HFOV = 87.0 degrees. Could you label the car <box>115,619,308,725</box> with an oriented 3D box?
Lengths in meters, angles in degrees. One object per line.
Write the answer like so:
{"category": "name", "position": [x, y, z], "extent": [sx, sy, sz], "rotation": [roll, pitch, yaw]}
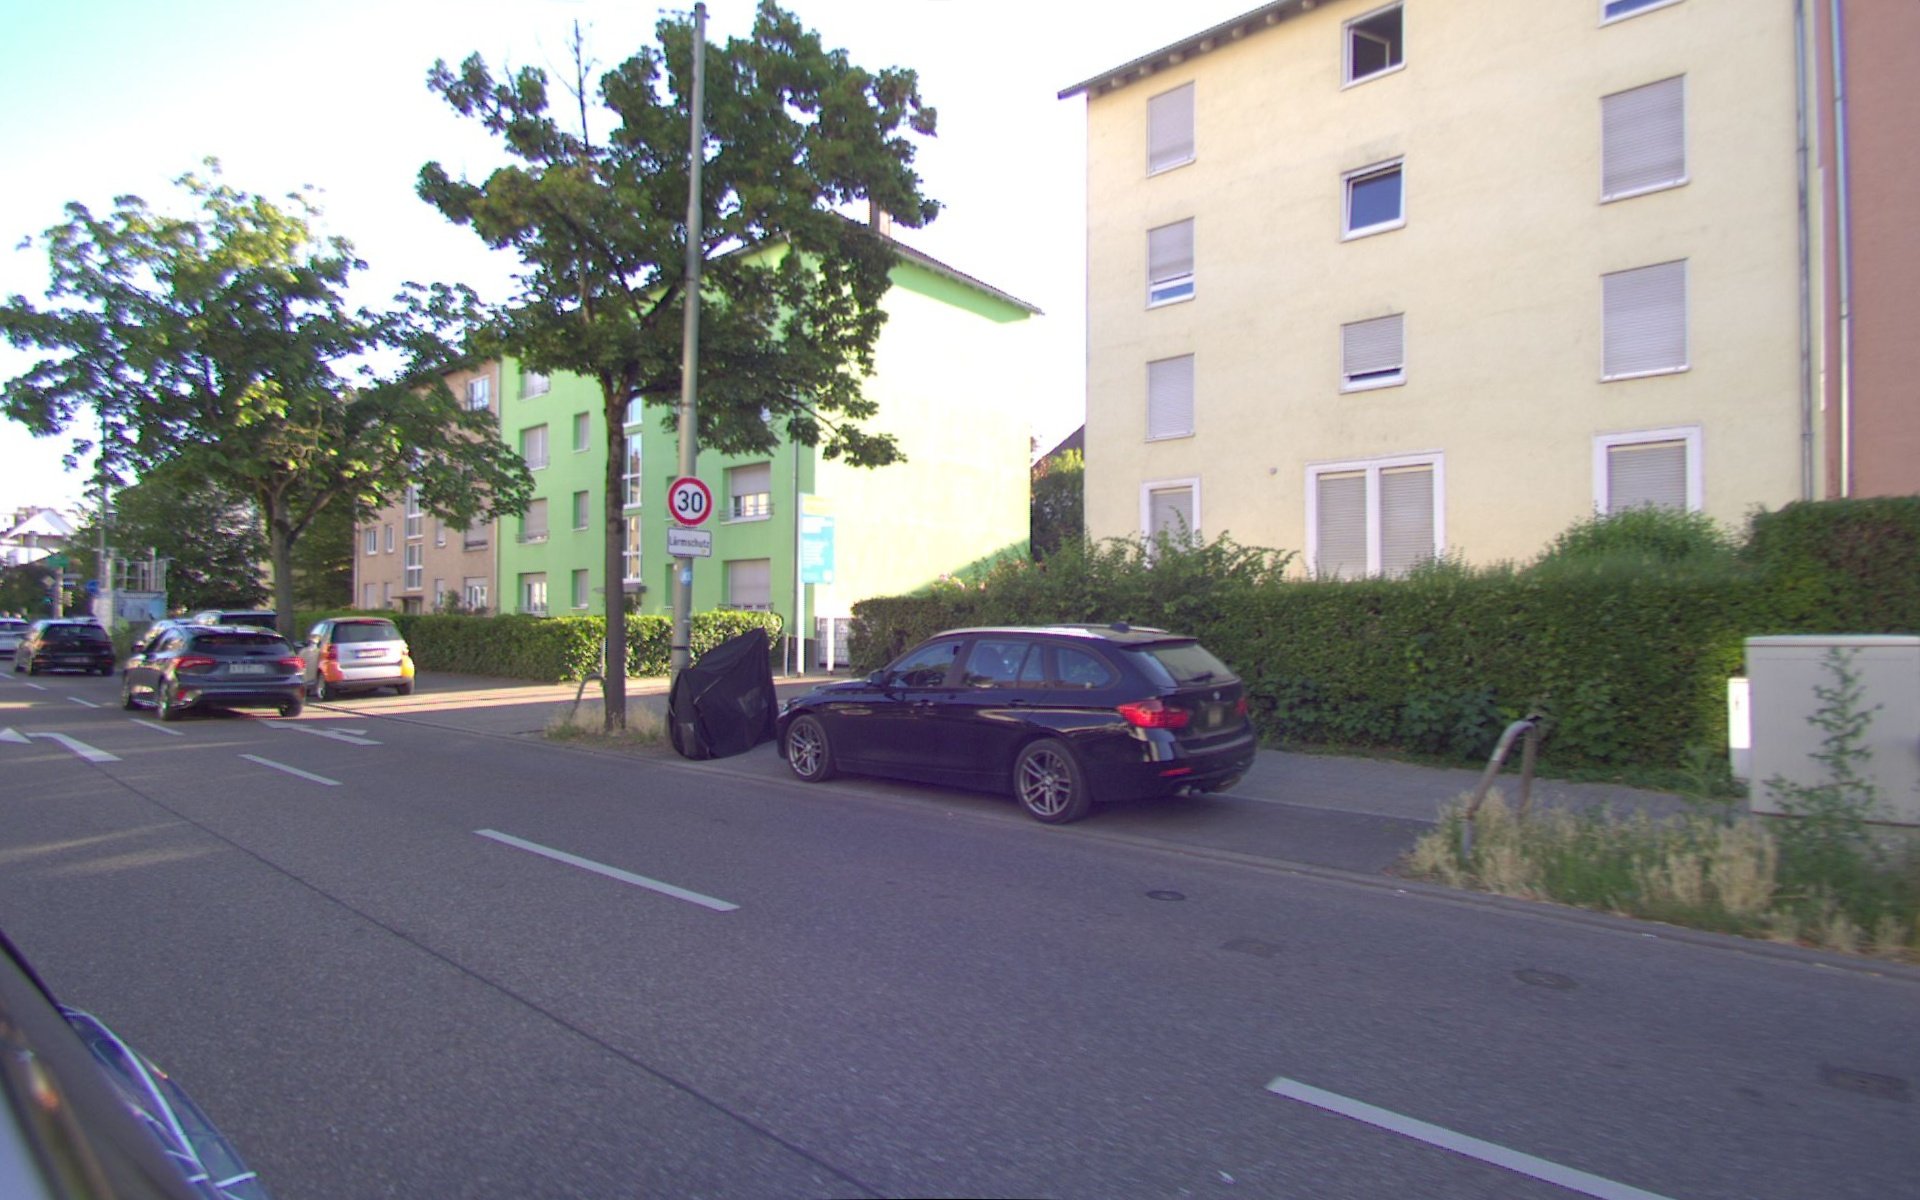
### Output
{"category": "car", "position": [-12.182, 1.074, 16.360], "extent": [4.293, 1.482, 1.681], "rotation": [-1, -3, 42]}

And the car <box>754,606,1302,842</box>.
{"category": "car", "position": [0.351, 0.840, 8.693], "extent": [4.586, 1.516, 1.760], "rotation": [-1, -1, 41]}

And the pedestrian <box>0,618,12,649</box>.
{"category": "pedestrian", "position": [-64.002, 2.232, 67.799], "extent": [0.739, 2.029, 0.631], "rotation": [-1, -2, 42]}

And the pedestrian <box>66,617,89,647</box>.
{"category": "pedestrian", "position": [-49.617, 1.808, 56.912], "extent": [0.598, 1.641, 0.752], "rotation": [-2, 2, -12]}

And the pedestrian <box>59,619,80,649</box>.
{"category": "pedestrian", "position": [-50.380, 1.895, 57.263], "extent": [0.607, 1.670, 0.741], "rotation": [-1, -1, 34]}

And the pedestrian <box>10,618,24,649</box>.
{"category": "pedestrian", "position": [-62.563, 2.204, 67.154], "extent": [0.814, 2.029, 0.637], "rotation": [0, 0, 42]}

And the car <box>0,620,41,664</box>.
{"category": "car", "position": [-34.688, 1.483, 36.352], "extent": [4.448, 1.482, 1.813], "rotation": [-1, -4, 40]}

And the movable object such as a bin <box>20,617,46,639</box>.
{"category": "movable object such as a bin", "position": [-72.852, 2.182, 79.529], "extent": [1.180, 1.670, 1.292], "rotation": [0, 3, 41]}

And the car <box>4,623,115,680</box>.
{"category": "car", "position": [-24.064, 1.340, 27.000], "extent": [4.026, 1.414, 1.682], "rotation": [-1, -4, 41]}

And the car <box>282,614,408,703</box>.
{"category": "car", "position": [-12.223, 1.092, 20.079], "extent": [2.862, 1.629, 1.482], "rotation": [-1, -1, 44]}

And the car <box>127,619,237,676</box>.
{"category": "car", "position": [-22.593, 1.334, 29.346], "extent": [4.187, 1.532, 1.665], "rotation": [-1, -1, 40]}

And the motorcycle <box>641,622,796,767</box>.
{"category": "motorcycle", "position": [-2.633, 0.980, 11.324], "extent": [0.980, 1.399, 2.022], "rotation": [0, 1, 9]}

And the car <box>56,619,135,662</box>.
{"category": "car", "position": [-33.383, 1.517, 39.049], "extent": [3.781, 1.564, 1.621], "rotation": [-1, -2, 39]}

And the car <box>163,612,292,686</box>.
{"category": "car", "position": [-18.939, 1.196, 26.084], "extent": [4.616, 1.746, 1.765], "rotation": [-1, -2, 42]}

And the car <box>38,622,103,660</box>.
{"category": "car", "position": [-37.177, 1.679, 42.265], "extent": [3.943, 1.490, 1.635], "rotation": [-1, -2, 43]}
